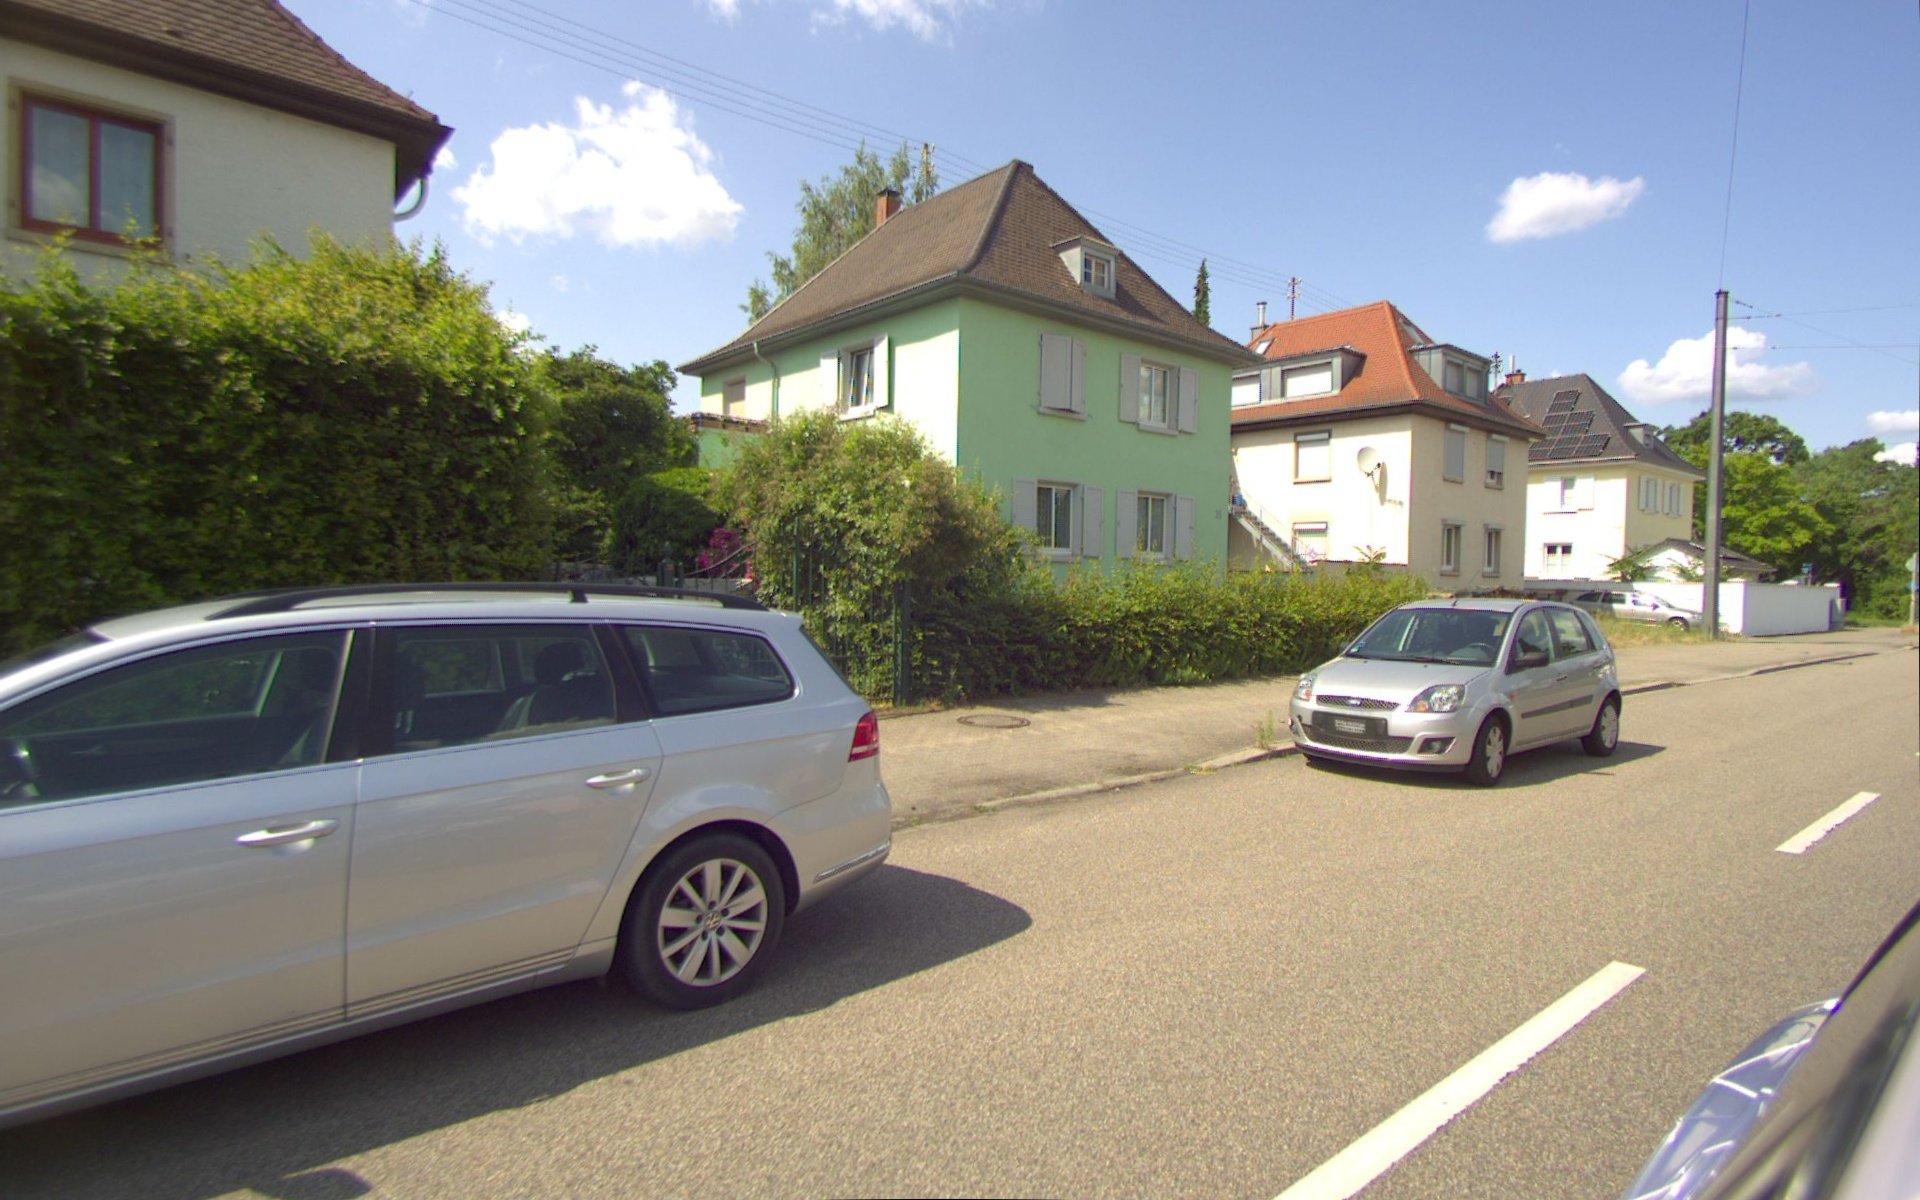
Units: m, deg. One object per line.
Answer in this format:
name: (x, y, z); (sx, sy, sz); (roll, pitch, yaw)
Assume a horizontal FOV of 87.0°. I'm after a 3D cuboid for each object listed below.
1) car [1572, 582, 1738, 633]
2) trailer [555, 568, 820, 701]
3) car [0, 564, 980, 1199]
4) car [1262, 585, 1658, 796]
car: (24.357, 0.206, 35.590); (1.731, 1.479, 4.462); (0, 3, -38)
trailer: (-3.590, 0.309, 12.772); (1.643, 1.343, 4.258); (0, 2, -39)
car: (-2.368, 0.643, 3.432); (4.920, 1.473, 1.893); (-1, 1, -42)
car: (4.698, 0.633, 9.278); (4.021, 1.508, 1.741); (-1, 1, -39)
